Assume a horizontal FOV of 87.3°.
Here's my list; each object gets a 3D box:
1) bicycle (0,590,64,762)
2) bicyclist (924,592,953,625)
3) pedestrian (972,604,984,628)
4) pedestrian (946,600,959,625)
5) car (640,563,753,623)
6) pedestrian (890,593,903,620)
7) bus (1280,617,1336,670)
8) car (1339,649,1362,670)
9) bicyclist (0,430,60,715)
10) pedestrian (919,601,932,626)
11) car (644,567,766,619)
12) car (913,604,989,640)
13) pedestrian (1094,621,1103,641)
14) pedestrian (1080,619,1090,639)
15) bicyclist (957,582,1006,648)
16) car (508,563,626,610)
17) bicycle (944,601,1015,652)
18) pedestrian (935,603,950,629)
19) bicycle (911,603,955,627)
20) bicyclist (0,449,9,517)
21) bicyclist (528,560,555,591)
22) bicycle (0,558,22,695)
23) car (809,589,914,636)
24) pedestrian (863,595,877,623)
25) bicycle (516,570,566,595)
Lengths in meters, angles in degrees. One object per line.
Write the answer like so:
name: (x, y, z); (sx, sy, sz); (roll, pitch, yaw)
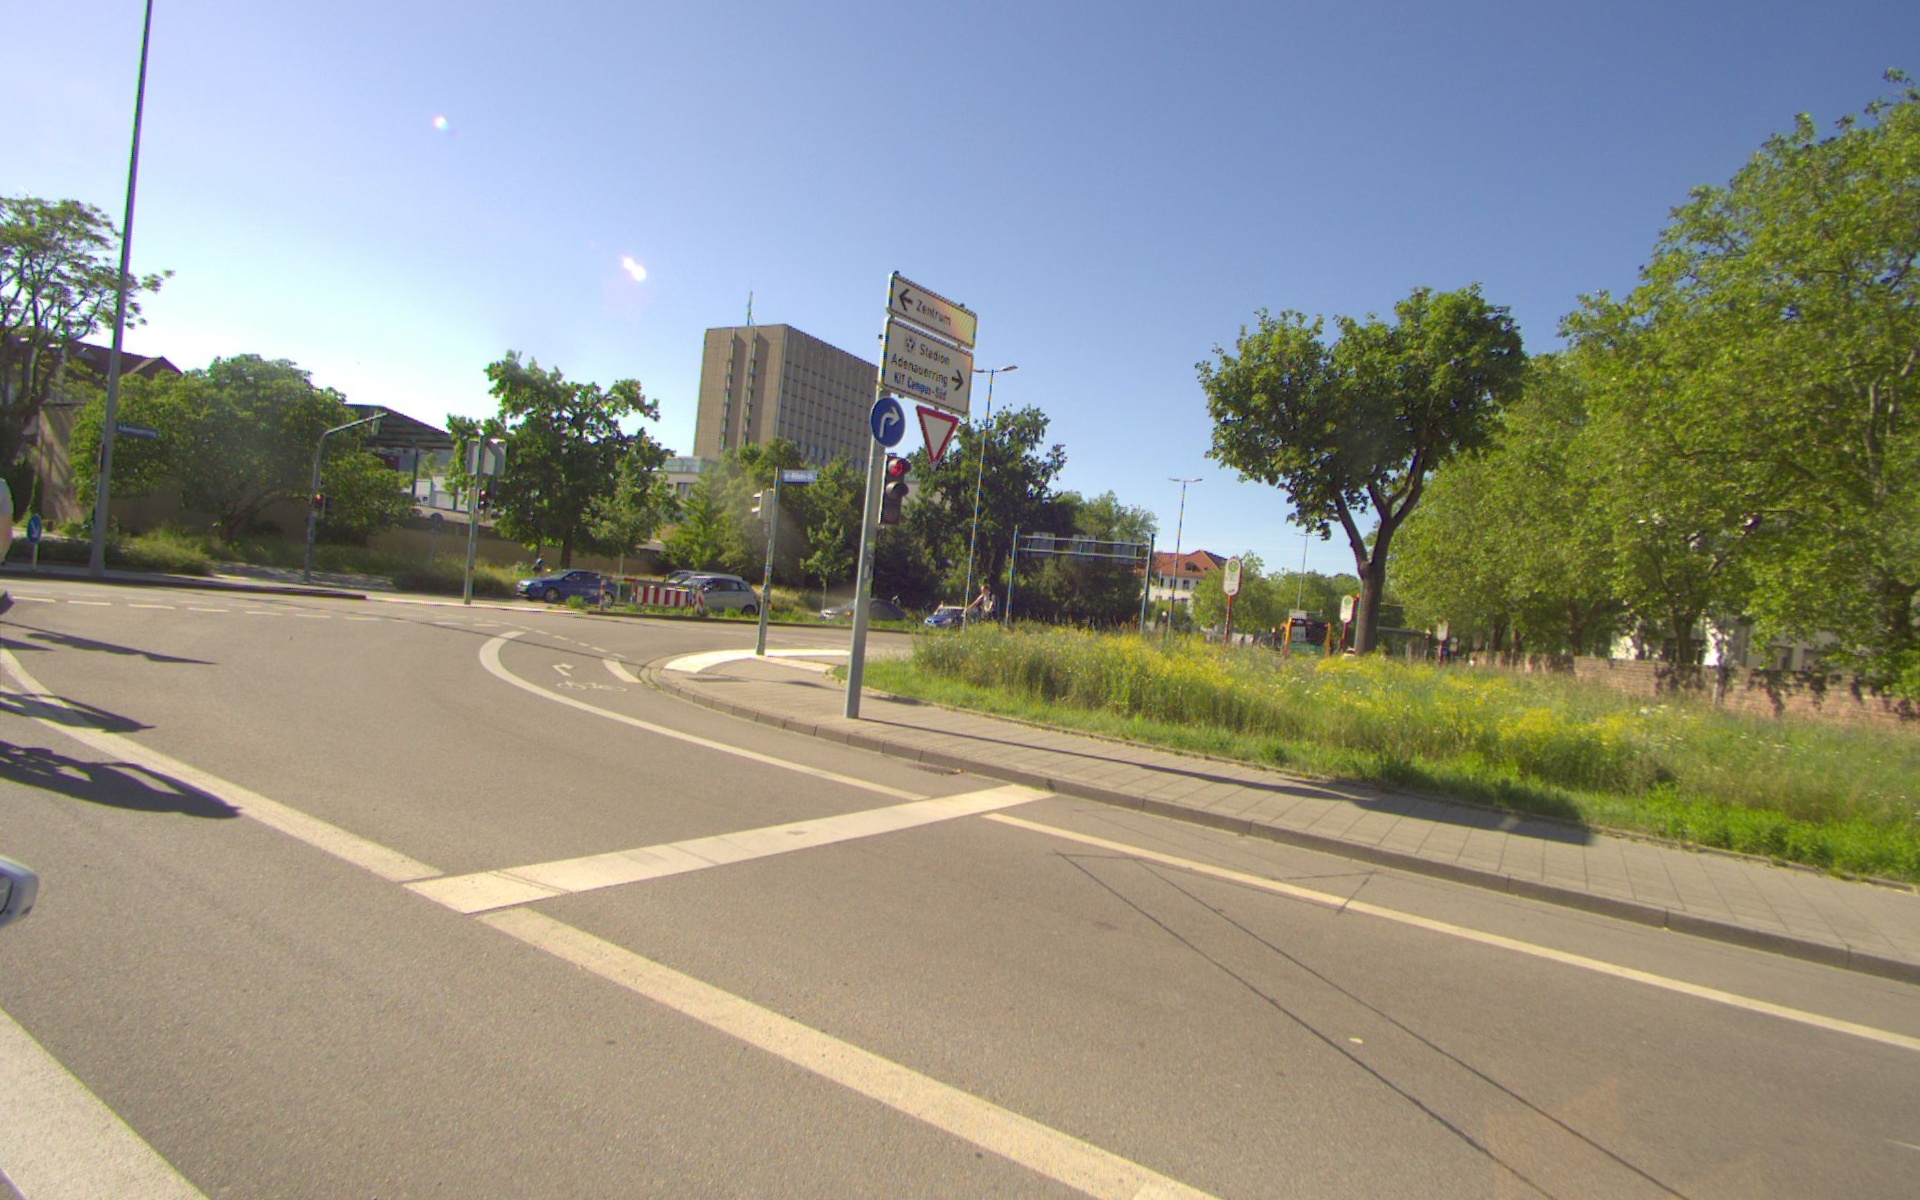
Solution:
bicycle: (-6.294, 0.366, 6.093); (1.946, 0.906, 0.741); (6, -2, 33)
bicyclist: (-1.150, 0.472, 54.143); (0.778, 1.649, 1.315); (7, 1, 37)
pedestrian: (1.400, 1.251, 78.556); (0.519, 1.801, 0.561); (7, 1, 35)
pedestrian: (-0.570, 0.961, 76.754); (0.519, 1.801, 0.561); (7, 1, 35)
car: (-12.308, -0.274, 47.333); (1.968, 2.131, 4.885); (6, -2, 34)
pedestrian: (-4.544, 0.475, 71.588); (0.519, 1.800, 0.561); (7, 1, 37)
bus: (22.399, 2.893, 64.365); (2.745, 2.662, 10.120); (7, -2, 22)
car: (33.759, 5.124, 86.924); (1.668, 1.525, 3.773); (6, 0, 22)
bicyclist: (-6.217, -0.217, 6.094); (1.000, 1.688, 0.752); (6, -1, 33)
pedestrian: (-2.548, 0.978, 74.475); (0.519, 1.801, 0.561); (7, 1, 35)
car: (-9.425, -0.234, 37.432); (1.840, 1.426, 4.046); (6, 0, 38)
car: (-0.384, 1.135, 50.374); (1.758, 1.448, 3.989); (6, 0, 34)
pedestrian: (13.203, 2.950, 96.030); (0.519, 1.801, 0.561); (7, 1, 35)
pedestrian: (11.832, 2.740, 95.321); (0.519, 1.801, 0.561); (7, 1, 35)
bicyclist: (0.492, 0.336, 22.437); (0.509, 1.368, 1.002); (7, 1, 32)
car: (-16.088, -0.514, 41.343); (1.717, 1.453, 4.162); (7, 0, 38)
bicycle: (0.459, 0.607, 22.434); (0.509, 1.007, 2.056); (7, 0, 32)
pedestrian: (-1.256, 1.175, 73.742); (0.702, 1.872, 0.561); (7, 1, 35)
bicycle: (-1.422, 0.799, 53.813); (0.778, 1.032, 2.630); (7, 0, 36)
bicyclist: (-8.135, -0.373, 7.783); (1.048, 1.759, 0.647); (7, -1, 26)
bicyclist: (-19.328, -1.134, 46.470); (0.684, 1.334, 0.826); (9, 3, 32)
bicycle: (-8.201, 0.089, 7.777); (1.935, 1.014, 0.661); (6, -1, 26)
car: (-4.305, 0.580, 44.712); (1.968, 1.604, 4.735); (6, 0, 34)
pedestrian: (-6.125, 0.611, 68.470); (0.519, 1.800, 0.561); (7, 1, 35)
bicycle: (-19.367, -0.782, 46.519); (0.684, 0.942, 2.083); (8, 2, 31)
